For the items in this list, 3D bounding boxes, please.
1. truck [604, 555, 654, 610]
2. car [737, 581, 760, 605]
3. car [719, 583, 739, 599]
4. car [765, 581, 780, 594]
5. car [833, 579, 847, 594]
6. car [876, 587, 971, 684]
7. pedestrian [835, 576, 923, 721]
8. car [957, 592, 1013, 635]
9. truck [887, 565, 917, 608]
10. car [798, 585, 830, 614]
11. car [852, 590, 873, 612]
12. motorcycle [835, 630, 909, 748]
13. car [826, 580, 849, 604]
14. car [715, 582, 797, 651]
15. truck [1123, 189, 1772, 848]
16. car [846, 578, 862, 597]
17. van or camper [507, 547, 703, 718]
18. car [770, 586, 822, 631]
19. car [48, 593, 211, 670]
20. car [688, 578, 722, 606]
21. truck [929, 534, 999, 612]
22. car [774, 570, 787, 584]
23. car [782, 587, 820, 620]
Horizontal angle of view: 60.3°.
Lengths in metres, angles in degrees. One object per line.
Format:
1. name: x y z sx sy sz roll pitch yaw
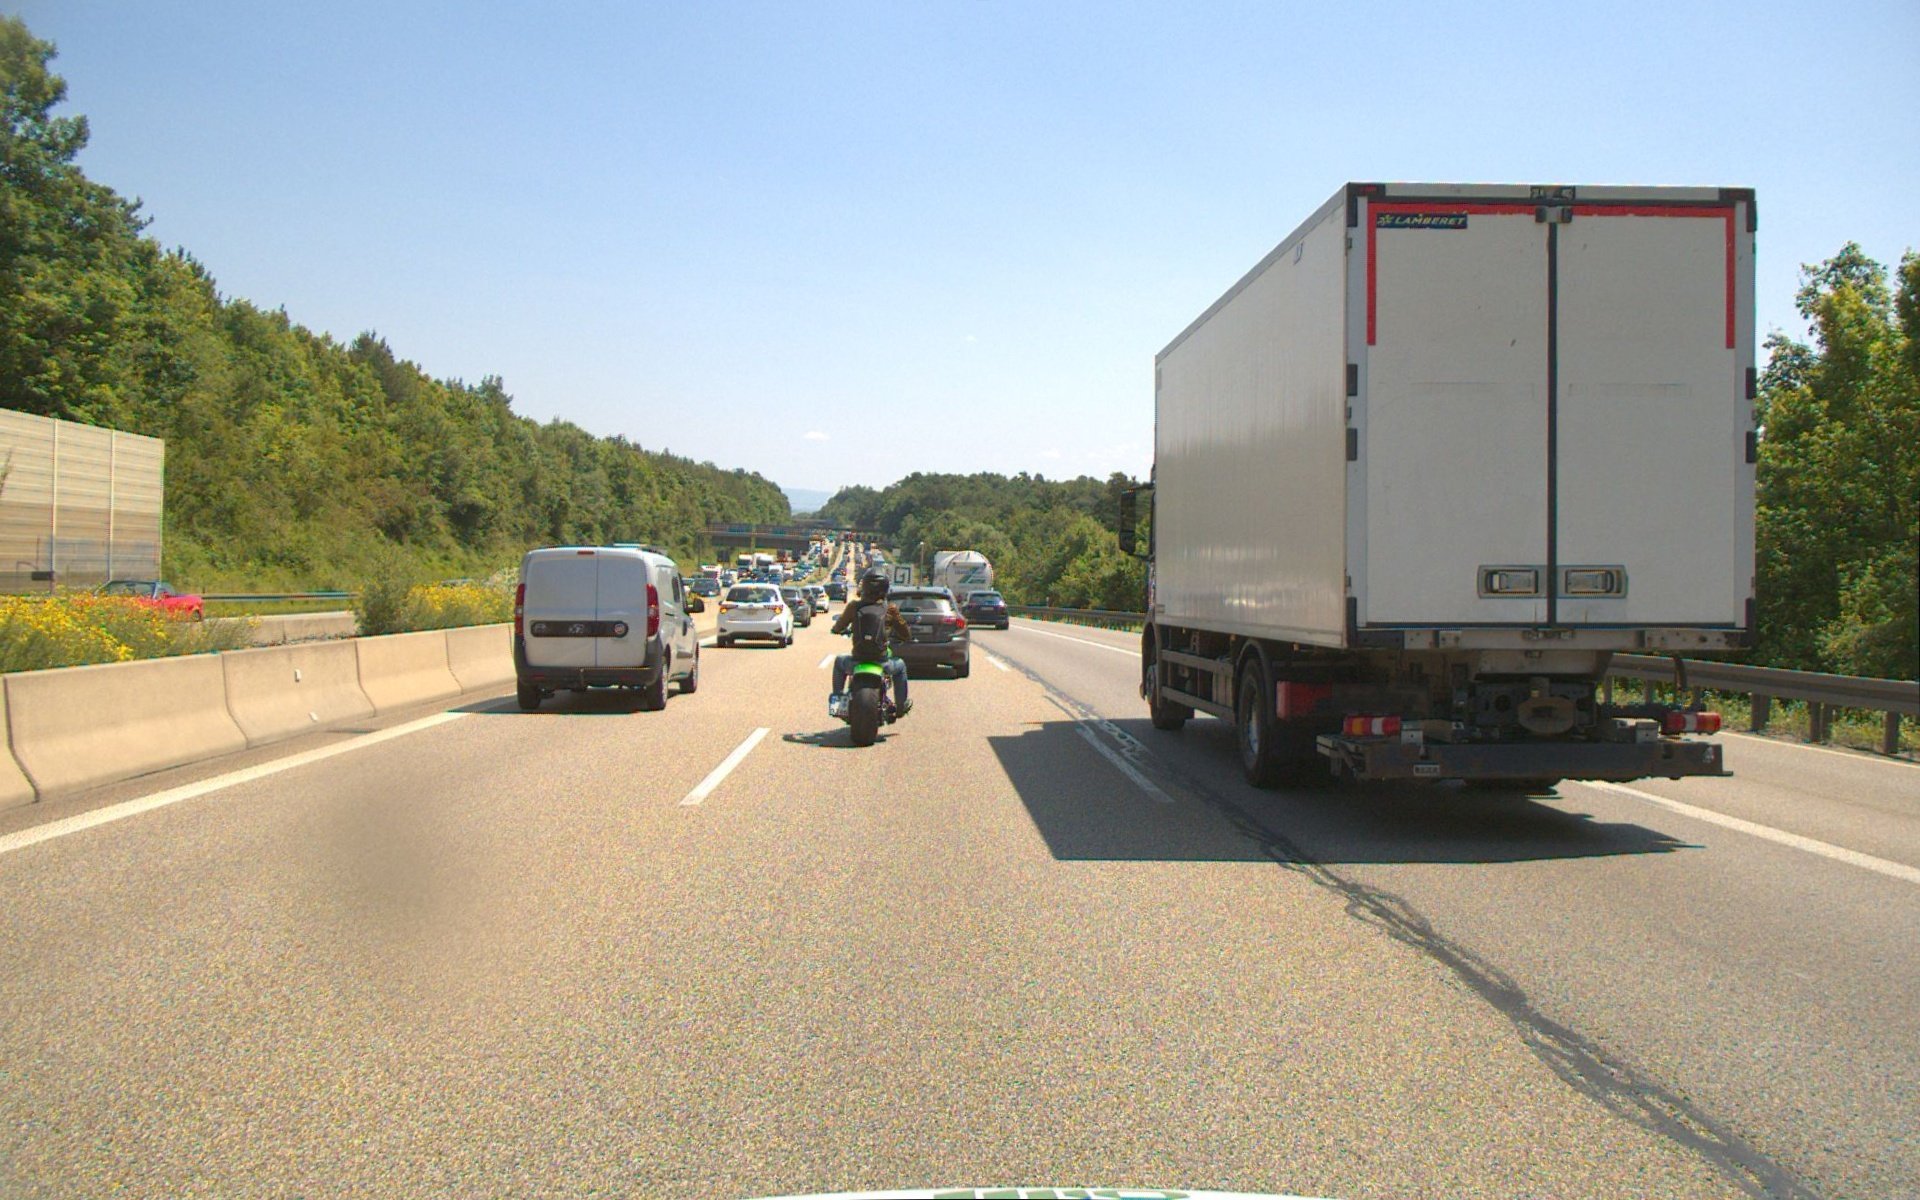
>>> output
1. truck: -24.696 -1.282 123.804 2.757 3.976 7.308 1 0 -4
2. car: -18.509 -0.586 144.840 1.729 2.049 3.996 1 0 -5
3. car: -29.979 -1.136 214.882 2.184 2.049 5.808 1 0 -4
4. car: -23.169 -1.495 204.062 1.677 1.564 4.125 1 0 -4
5. car: -17.232 -1.954 237.239 1.891 2.049 3.997 1 0 -3
6. car: -0.659 0.547 28.475 1.502 1.536 3.998 1 0 -2
7. pedestrian: -0.795 0.463 16.363 0.832 1.385 0.961 1 0 -3
8. car: 0.932 0.494 64.467 1.793 1.496 3.997 3 1 -4
9. truck: -6.762 -1.605 190.832 2.974 4.621 9.976 4 1 -4
10. car: -8.202 -0.054 93.034 1.666 1.504 3.997 3 1 -4
11. car: -6.933 0.073 118.134 1.364 1.489 2.778 1 0 -1
12. motorcycle: -0.861 0.844 16.398 0.677 1.033 2.120 1 0 -3
13. car: -10.567 -0.702 142.678 1.843 1.892 3.998 3 1 -3
14. car: -4.908 0.365 40.207 1.666 1.504 3.997 3 1 -4
15. truck: 3.431 -0.527 14.854 2.634 3.944 9.776 0 0 -2
16. car: -12.167 -1.422 189.506 1.767 2.049 3.995 1 0 -6
17. van or camper: -4.355 0.371 20.874 1.760 1.925 4.157 1 0 -3
18. car: -5.959 0.279 60.363 1.666 1.504 3.997 3 1 -4
19. car: -19.040 0.692 38.140 1.704 1.668 4.187 1 0 -1
20. car: -16.164 -0.544 105.066 1.650 1.728 4.656 1 1 -3
21. truck: 0.113 -1.285 84.517 2.929 3.735 9.280 1 0 -4
22. car: -26.692 -3.362 246.159 1.855 1.982 3.995 1 0 -5
23. car: -7.874 0.138 81.987 1.666 1.504 3.997 3 1 -4
